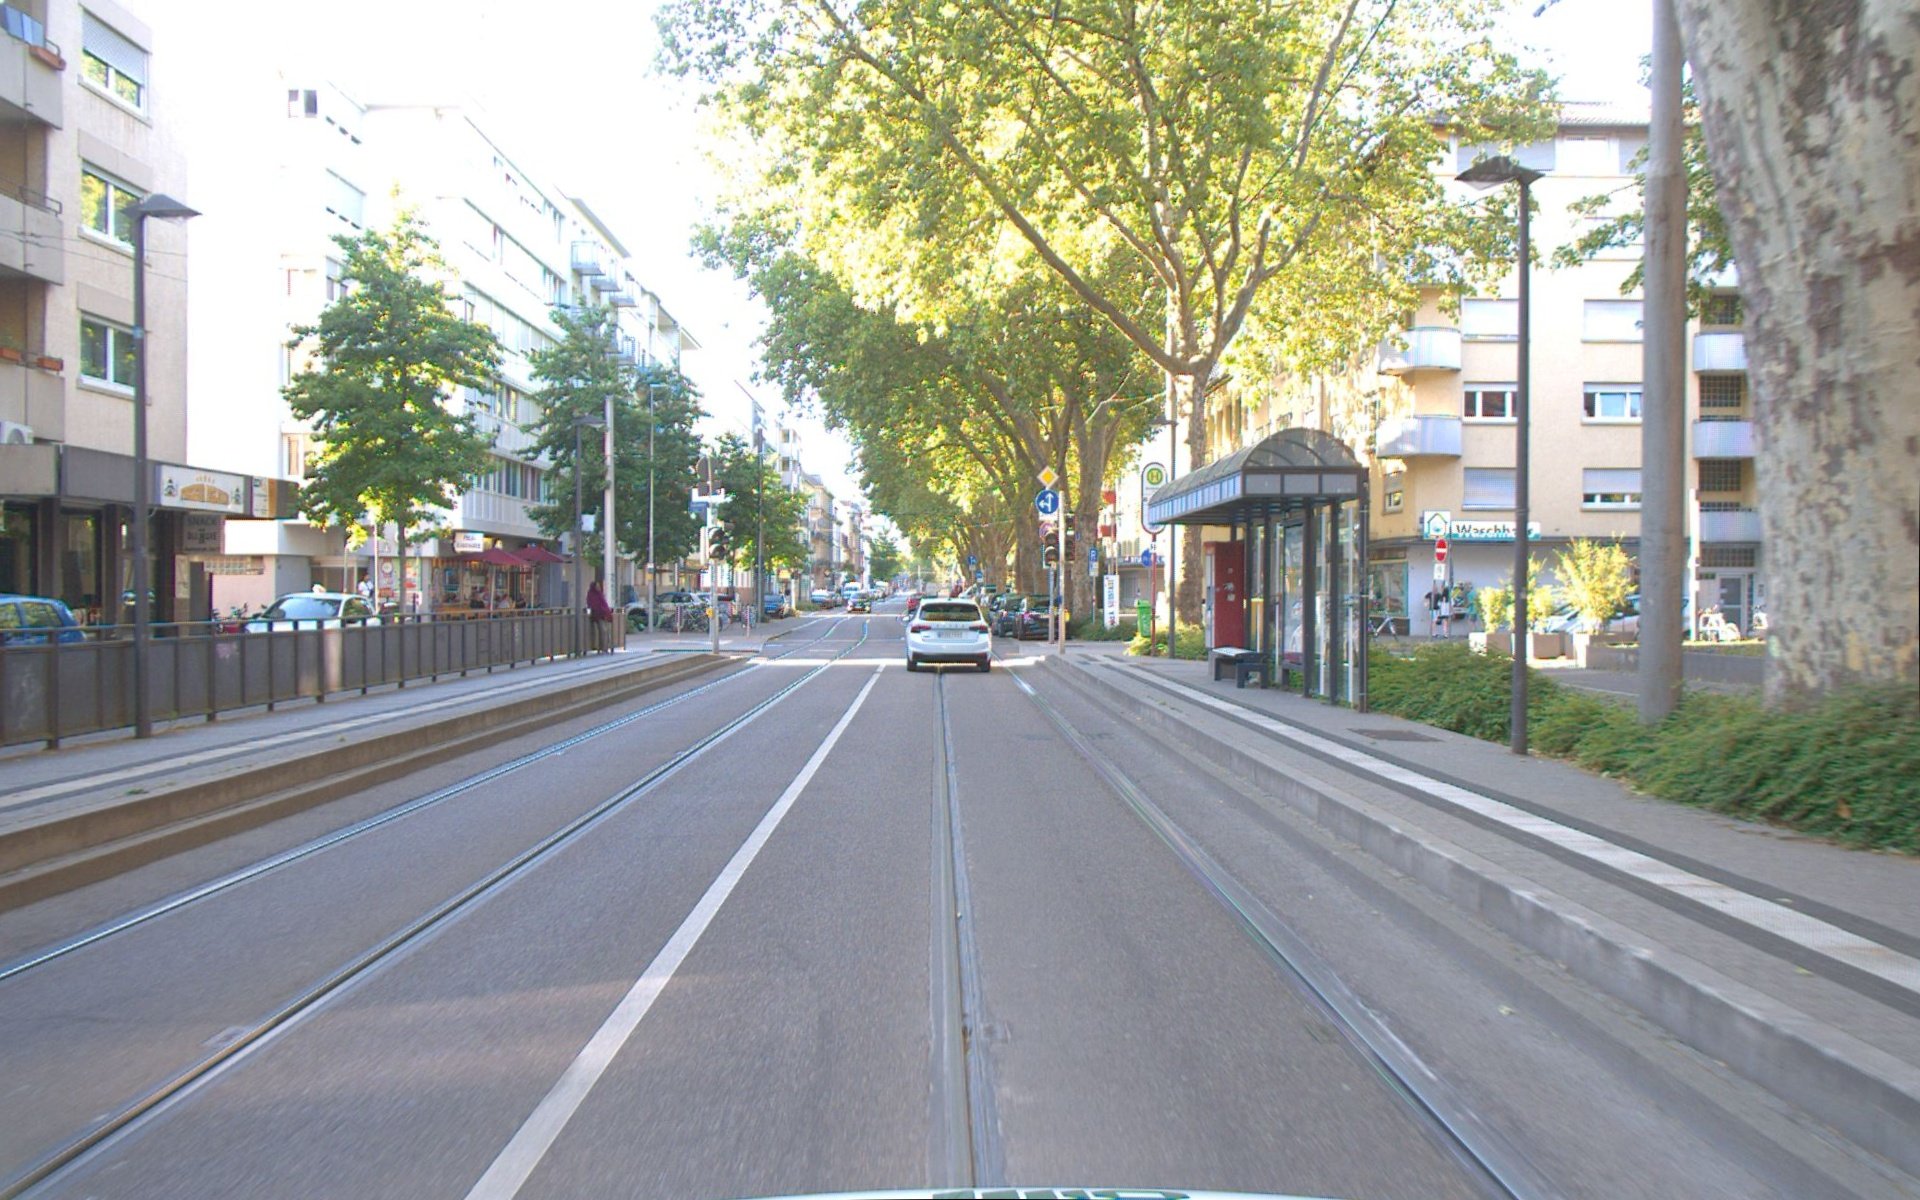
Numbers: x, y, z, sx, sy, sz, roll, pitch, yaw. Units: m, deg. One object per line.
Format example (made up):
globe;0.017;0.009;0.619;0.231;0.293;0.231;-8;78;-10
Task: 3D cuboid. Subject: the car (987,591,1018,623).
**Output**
car;2.140;0.352;83.624;1.531;1.545;2.910;-1;-1;1

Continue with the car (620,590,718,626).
car;-12.758;0.357;72.707;3.931;1.501;1.851;1;0;-1

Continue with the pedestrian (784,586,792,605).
pedestrian;-16.544;-0.444;159.135;0.650;1.858;0.965;0;0;-3

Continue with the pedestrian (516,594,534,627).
pedestrian;-16.317;0.394;62.002;0.506;1.219;0.558;0;0;-30

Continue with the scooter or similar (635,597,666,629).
scooter or similar;-11.634;0.494;62.251;1.058;1.197;0.498;1;0;-3

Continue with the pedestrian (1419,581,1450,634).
pedestrian;15.467;0.225;53.926;0.693;1.712;0.655;0;0;-28

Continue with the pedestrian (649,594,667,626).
pedestrian;-12.675;0.421;69.396;0.700;1.320;0.744;0;0;-15

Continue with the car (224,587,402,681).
car;-12.438;0.601;32.112;1.840;1.680;4.356;-1;0;-2

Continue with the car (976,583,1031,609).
car;3.617;-0.358;138.462;4.453;2.113;1.999;0;0;-4

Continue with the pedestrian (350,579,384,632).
pedestrian;-19.132;0.164;53.395;0.731;1.688;0.769;0;0;14

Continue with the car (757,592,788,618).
car;-11.443;0.282;100.847;1.681;1.489;3.993;3;0;-8

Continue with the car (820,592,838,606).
car;-13.127;-0.113;165.735;1.620;1.462;3.835;0;0;-3

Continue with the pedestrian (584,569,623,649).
pedestrian;-7.284;0.185;33.826;0.640;1.612;0.772;0;0;-1

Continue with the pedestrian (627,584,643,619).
pedestrian;-16.113;0.076;82.042;0.650;1.720;0.748;0;0;-3

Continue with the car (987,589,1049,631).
car;2.136;0.359;61.944;1.828;1.462;4.222;-1;0;-4

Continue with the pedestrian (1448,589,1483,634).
pedestrian;16.417;0.378;53.708;0.824;1.439;0.767;0;0;-10

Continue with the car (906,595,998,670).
car;-0.216;0.623;33.835;1.726;1.408;3.998;0;0;-2

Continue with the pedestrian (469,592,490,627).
pedestrian;-16.961;0.335;58.401;0.557;1.219;0.506;-1;0;-36

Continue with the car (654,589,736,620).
car;-13.504;0.240;84.328;3.933;1.501;1.850;1;0;-4

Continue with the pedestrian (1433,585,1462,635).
pedestrian;15.574;0.312;52.823;0.690;1.566;0.687;0;0;40

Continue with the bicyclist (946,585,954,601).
bicyclist;-0.880;-0.640;147.994;0.636;1.367;0.934;0;0;-3

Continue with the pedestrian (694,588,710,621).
pedestrian;-13.651;0.222;87.415;0.748;1.720;0.794;0;0;-3

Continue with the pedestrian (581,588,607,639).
pedestrian;-11.607;0.415;52.461;0.711;1.583;0.768;0;0;-7

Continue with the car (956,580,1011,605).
car;2.599;-0.848;185.434;6.008;2.681;2.528;0;0;-3

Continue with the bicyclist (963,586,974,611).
bicyclist;0.522;-0.095;100.904;0.664;1.468;1.047;0;0;0

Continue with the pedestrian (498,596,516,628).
pedestrian;-17.342;0.468;63.338;0.550;1.219;0.624;0;0;-2

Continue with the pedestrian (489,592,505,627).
pedestrian;-16.263;0.336;58.068;0.503;1.219;0.561;0;0;-17

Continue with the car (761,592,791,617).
car;-11.740;0.284;105.626;1.680;1.489;4.372;3;0;-5

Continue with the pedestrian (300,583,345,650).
pedestrian;-15.198;0.393;39.414;0.709;1.583;0.726;0;0;14

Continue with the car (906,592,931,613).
car;-2.977;0.177;119.171;1.726;1.501;3.999;0;0;-1

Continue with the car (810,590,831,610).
car;-12.617;-0.036;150.200;1.668;1.679;4.239;2;0;-3

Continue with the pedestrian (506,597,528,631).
pedestrian;-16.385;0.511;61.134;0.595;1.219;0.683;-1;0;-36
